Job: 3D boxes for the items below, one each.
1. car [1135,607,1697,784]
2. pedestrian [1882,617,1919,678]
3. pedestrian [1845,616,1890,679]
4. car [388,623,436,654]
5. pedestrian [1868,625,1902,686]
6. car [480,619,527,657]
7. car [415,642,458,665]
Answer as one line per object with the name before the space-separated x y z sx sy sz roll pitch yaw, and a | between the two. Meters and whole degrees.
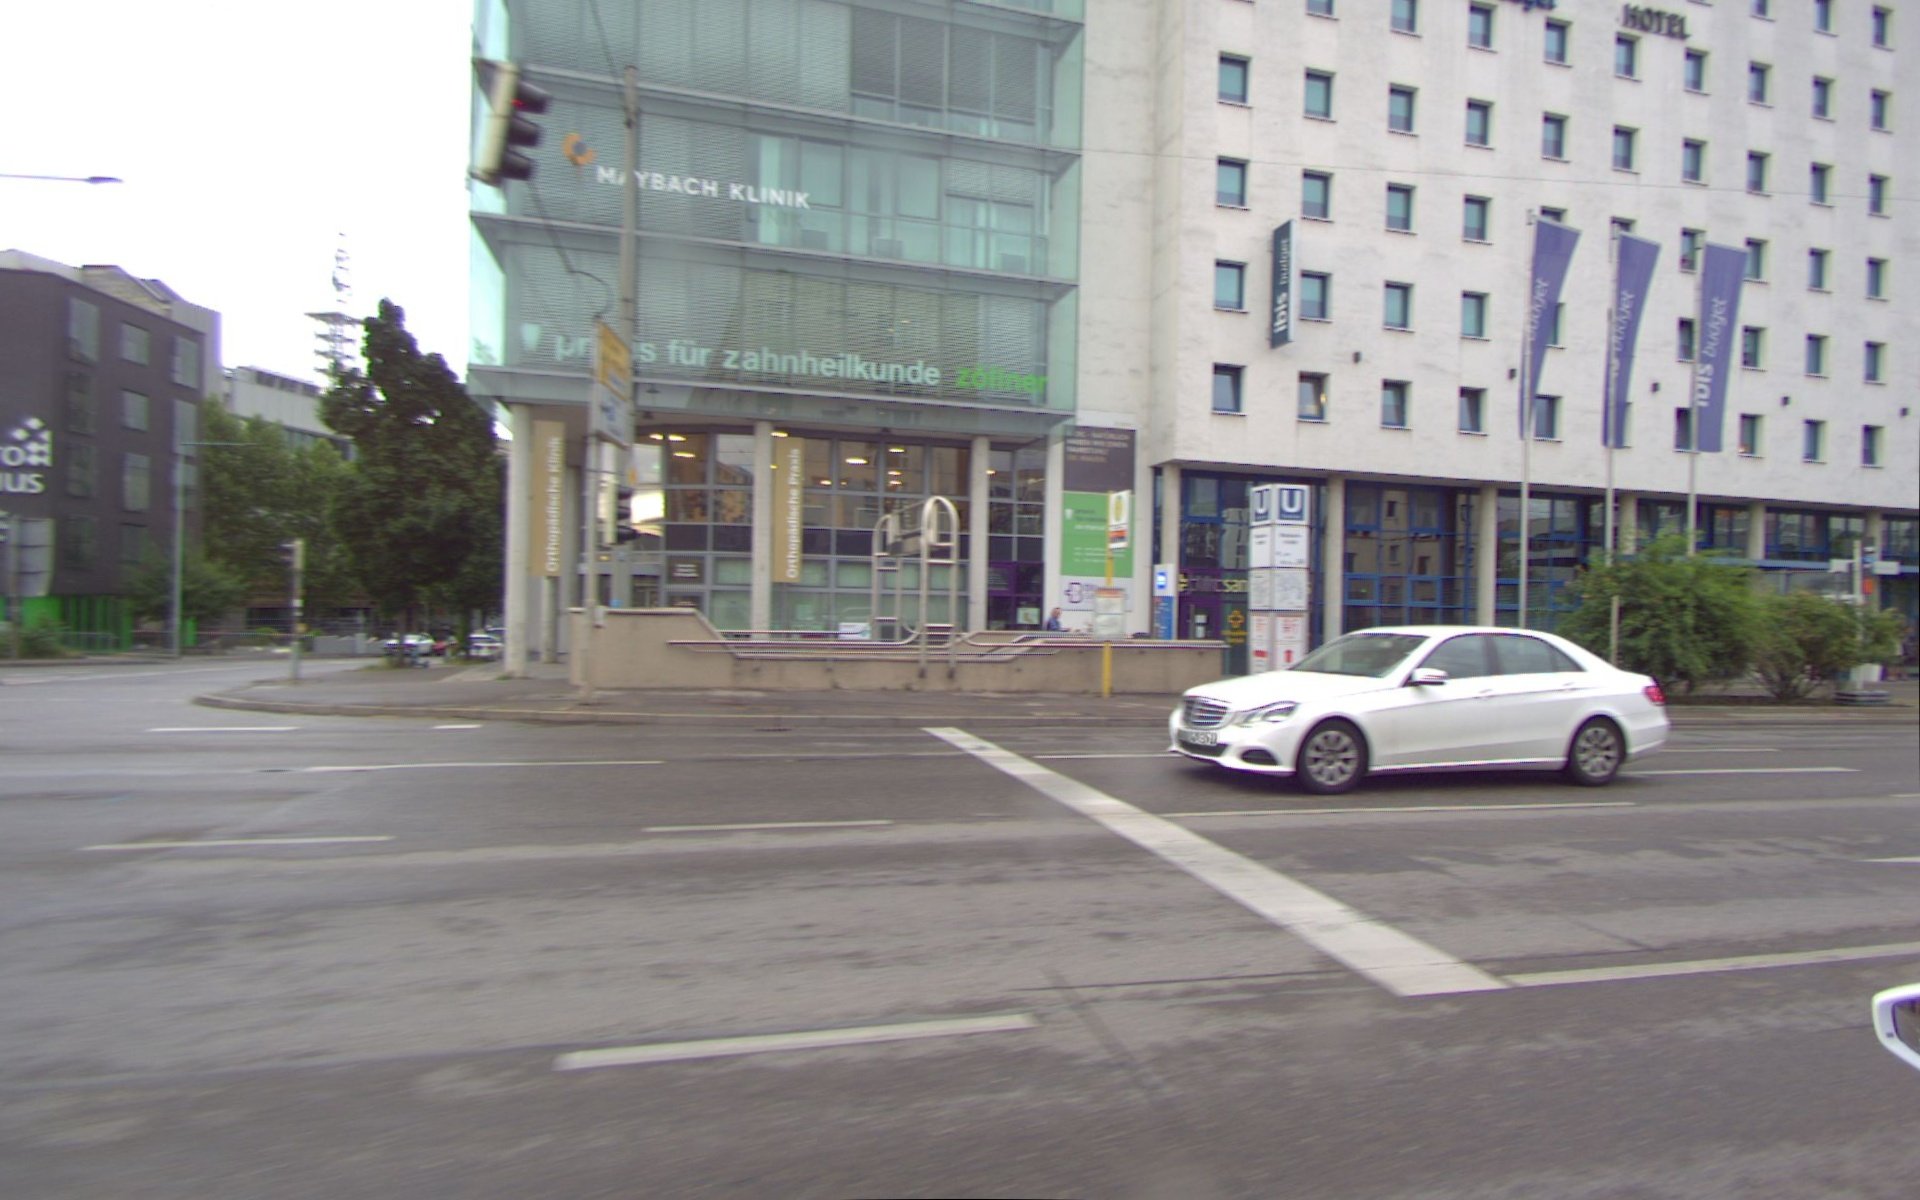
car | 4.294 0.836 9.564 4.882 1.405 1.817 2 -1 -16
pedestrian | 32.625 1.659 34.686 0.883 2.040 0.816 2 -3 14
pedestrian | 30.383 1.581 33.620 0.801 2.040 0.802 3 -3 -14
car | -38.798 2.715 71.248 1.967 2.040 3.988 3 -3 -15
pedestrian | 31.589 1.903 34.309 0.799 2.040 0.805 5 -4 -43
car | -22.544 1.867 49.632 1.973 1.739 3.976 4 -3 -24
car | -39.582 4.009 76.057 1.654 1.614 3.852 3 -3 -9
